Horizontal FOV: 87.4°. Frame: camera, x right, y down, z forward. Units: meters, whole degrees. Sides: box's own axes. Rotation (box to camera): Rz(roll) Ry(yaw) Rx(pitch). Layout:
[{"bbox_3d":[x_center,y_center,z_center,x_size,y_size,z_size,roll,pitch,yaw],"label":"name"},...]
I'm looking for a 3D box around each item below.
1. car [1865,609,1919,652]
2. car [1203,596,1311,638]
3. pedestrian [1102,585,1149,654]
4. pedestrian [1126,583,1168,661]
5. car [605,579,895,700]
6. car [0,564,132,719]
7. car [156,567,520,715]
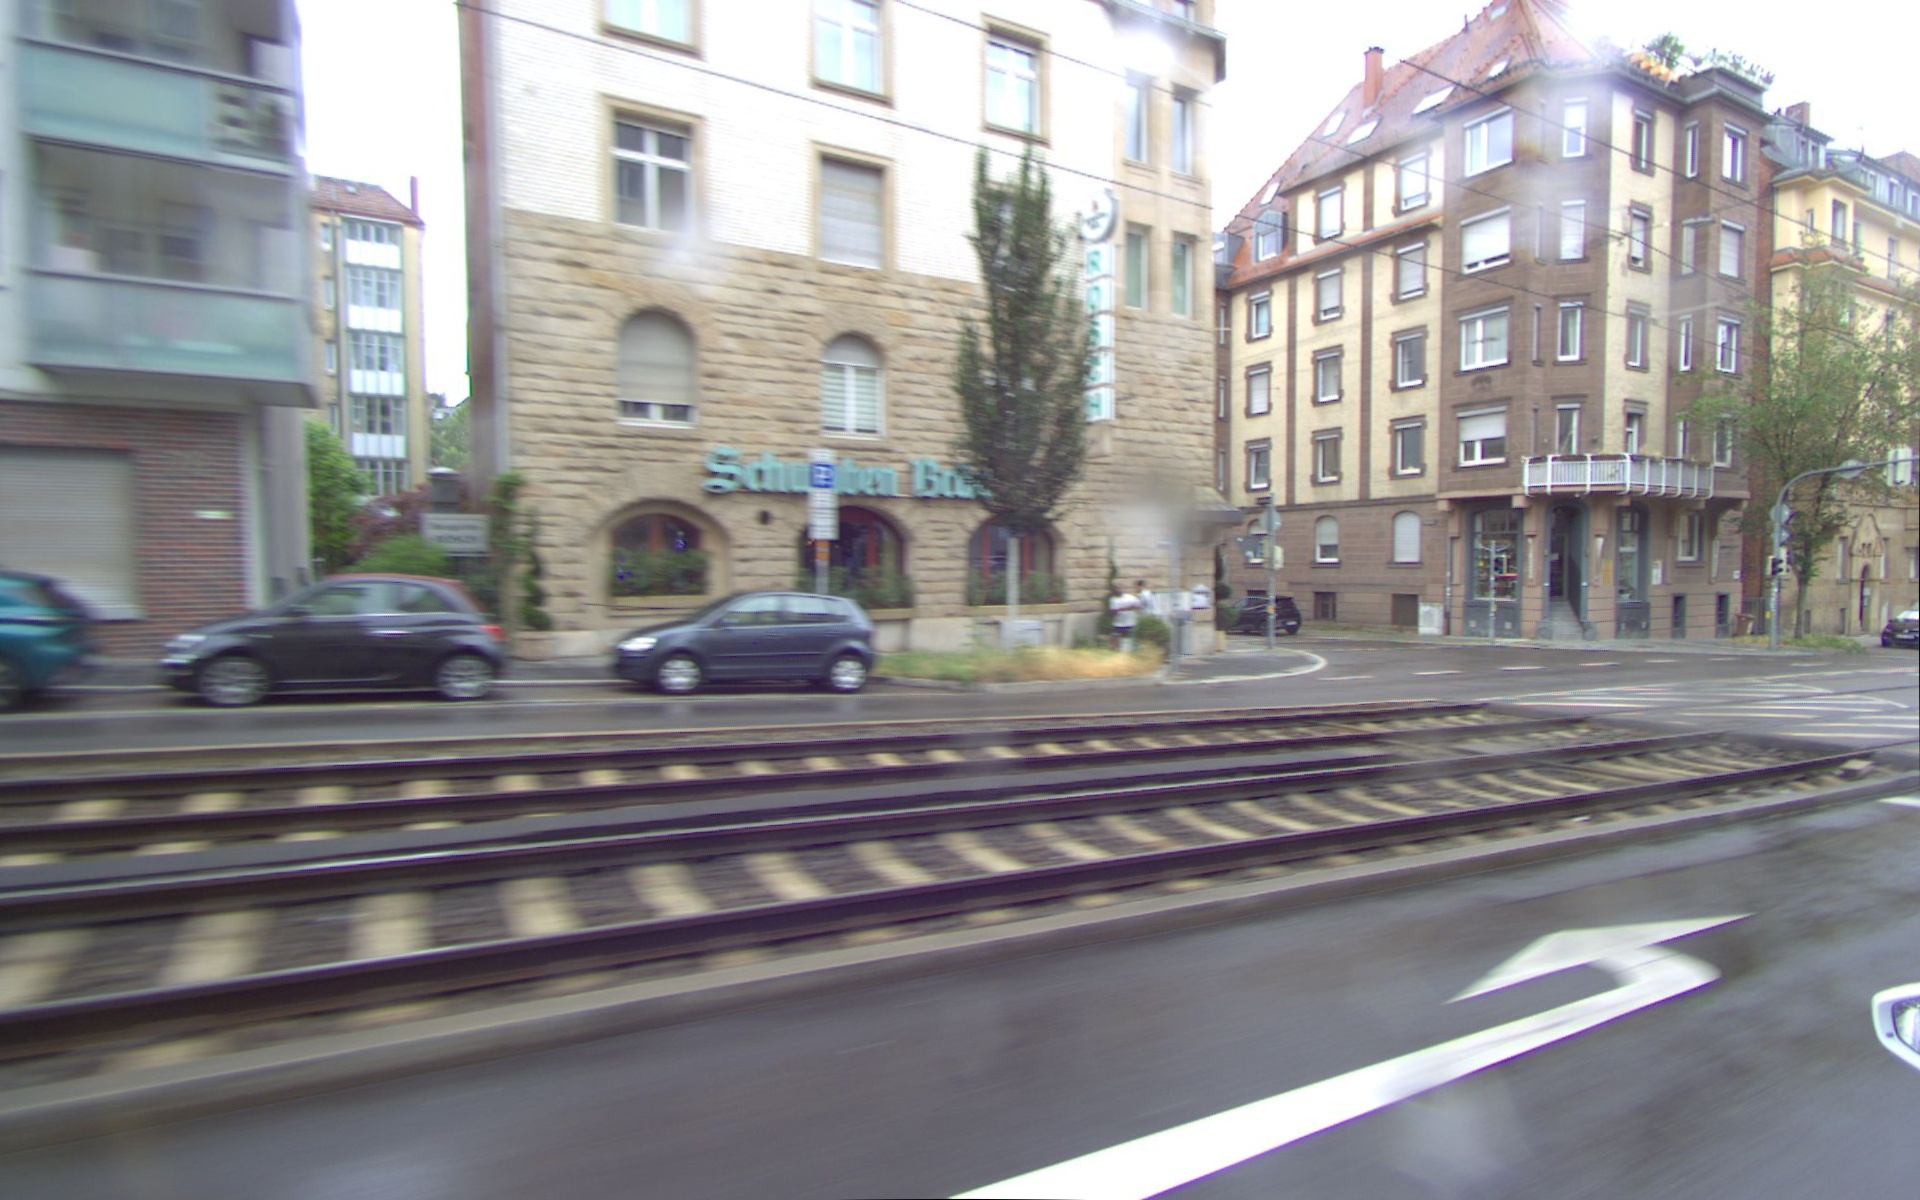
[{"bbox_3d":[36.082,1.160,37.871,3.952,1.506,1.757,2,0,-30],"label":"car"},{"bbox_3d":[12.121,0.667,41.245,1.821,1.586,4.191,1,0,-29],"label":"car"},{"bbox_3d":[3.550,0.417,21.550,0.637,1.441,0.751,1,1,-26],"label":"pedestrian"},{"bbox_3d":[3.885,0.462,20.902,0.635,1.591,0.515,2,0,-26],"label":"pedestrian"},{"bbox_3d":[-3.078,0.529,14.779,3.845,1.573,1.758,1,1,-28],"label":"car"},{"bbox_3d":[-11.126,0.370,9.865,4.380,1.474,1.791,1,3,-31],"label":"car"},{"bbox_3d":[-7.361,0.453,12.181,3.487,1.518,1.797,2,1,-32],"label":"car"}]
